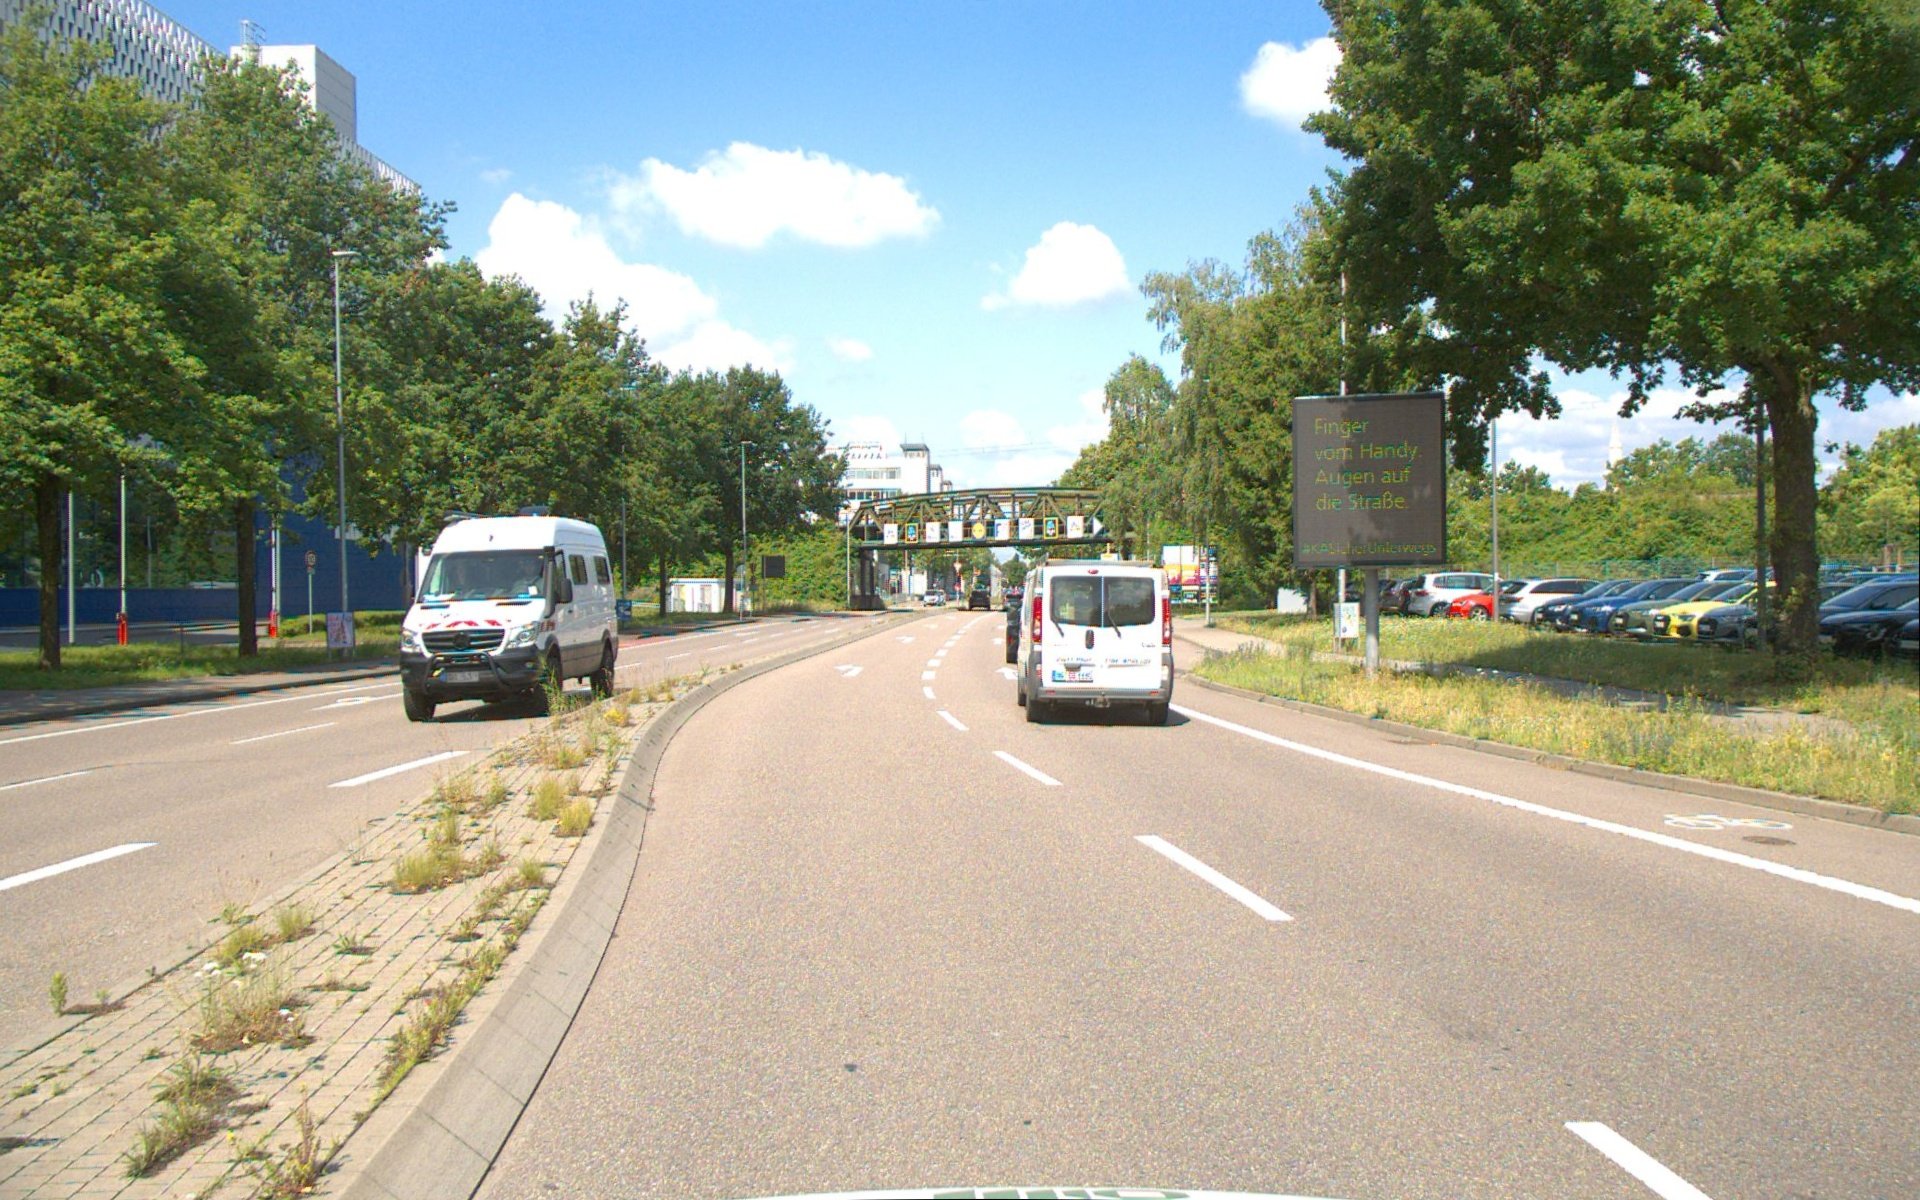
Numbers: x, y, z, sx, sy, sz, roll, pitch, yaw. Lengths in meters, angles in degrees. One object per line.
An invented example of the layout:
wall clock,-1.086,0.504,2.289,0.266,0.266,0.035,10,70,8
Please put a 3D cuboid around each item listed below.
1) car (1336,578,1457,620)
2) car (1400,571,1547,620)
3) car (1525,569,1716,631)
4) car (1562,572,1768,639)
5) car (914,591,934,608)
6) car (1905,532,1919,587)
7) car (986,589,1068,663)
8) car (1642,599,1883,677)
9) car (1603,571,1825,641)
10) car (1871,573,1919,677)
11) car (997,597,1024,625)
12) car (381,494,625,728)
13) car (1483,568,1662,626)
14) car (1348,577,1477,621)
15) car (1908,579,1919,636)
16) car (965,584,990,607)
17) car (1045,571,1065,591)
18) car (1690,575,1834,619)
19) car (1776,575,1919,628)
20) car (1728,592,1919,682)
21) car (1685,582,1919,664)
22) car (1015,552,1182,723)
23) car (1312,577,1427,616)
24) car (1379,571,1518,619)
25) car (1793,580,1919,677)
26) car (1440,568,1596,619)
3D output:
car,17.215,-0.057,65.360,4.265,1.539,1.936,0,2,0
car,16.926,-0.172,54.705,4.265,1.539,1.936,0,2,0
car,17.394,-0.013,43.683,4.265,1.539,1.936,0,2,0
car,17.364,0.119,40.874,4.265,1.539,1.936,0,2,0
car,-4.355,-0.095,200.245,1.951,2.049,4.002,-1,0,4
car,33.959,-1.328,54.695,4.263,1.805,1.937,1,2,5
car,1.595,0.598,40.660,1.738,1.657,3.999,0,1,-2
car,17.309,0.803,35.804,4.265,1.539,1.936,0,2,0
car,17.451,0.117,38.409,4.265,1.539,1.936,0,2,0
car,16.558,0.384,25.217,4.265,1.539,1.936,0,2,0
car,3.895,0.835,127.073,1.952,2.049,4.001,-1,0,2
car,-6.454,0.128,24.200,1.982,2.944,6.379,-1,0,-2
car,17.096,-0.093,46.307,4.265,1.539,1.936,0,2,0
car,16.798,-0.033,61.543,4.265,1.539,1.936,0,2,0
car,27.916,0.179,44.011,4.256,1.525,1.908,-1,0,2
car,1.472,-0.365,138.327,1.952,1.802,4.003,0,2,3
car,12.456,-2.510,216.308,2.328,2.518,4.765,-1,0,7
car,28.910,-0.118,59.689,4.256,1.525,1.908,-1,0,2
car,26.742,0.037,48.942,4.256,1.525,1.908,-1,0,2
car,16.837,0.669,30.676,4.265,1.539,1.936,0,2,0
car,17.189,0.440,33.355,4.265,1.539,1.936,0,2,0
car,1.780,0.400,22.575,1.932,2.095,4.565,0,1,0
car,16.924,-0.147,68.486,4.265,1.539,1.936,0,2,0
car,16.872,-0.187,57.286,4.265,1.539,1.936,0,2,0
car,16.765,0.470,28.058,4.265,1.539,1.936,0,2,0
car,17.564,-0.222,52.235,4.265,1.539,1.936,0,2,0
